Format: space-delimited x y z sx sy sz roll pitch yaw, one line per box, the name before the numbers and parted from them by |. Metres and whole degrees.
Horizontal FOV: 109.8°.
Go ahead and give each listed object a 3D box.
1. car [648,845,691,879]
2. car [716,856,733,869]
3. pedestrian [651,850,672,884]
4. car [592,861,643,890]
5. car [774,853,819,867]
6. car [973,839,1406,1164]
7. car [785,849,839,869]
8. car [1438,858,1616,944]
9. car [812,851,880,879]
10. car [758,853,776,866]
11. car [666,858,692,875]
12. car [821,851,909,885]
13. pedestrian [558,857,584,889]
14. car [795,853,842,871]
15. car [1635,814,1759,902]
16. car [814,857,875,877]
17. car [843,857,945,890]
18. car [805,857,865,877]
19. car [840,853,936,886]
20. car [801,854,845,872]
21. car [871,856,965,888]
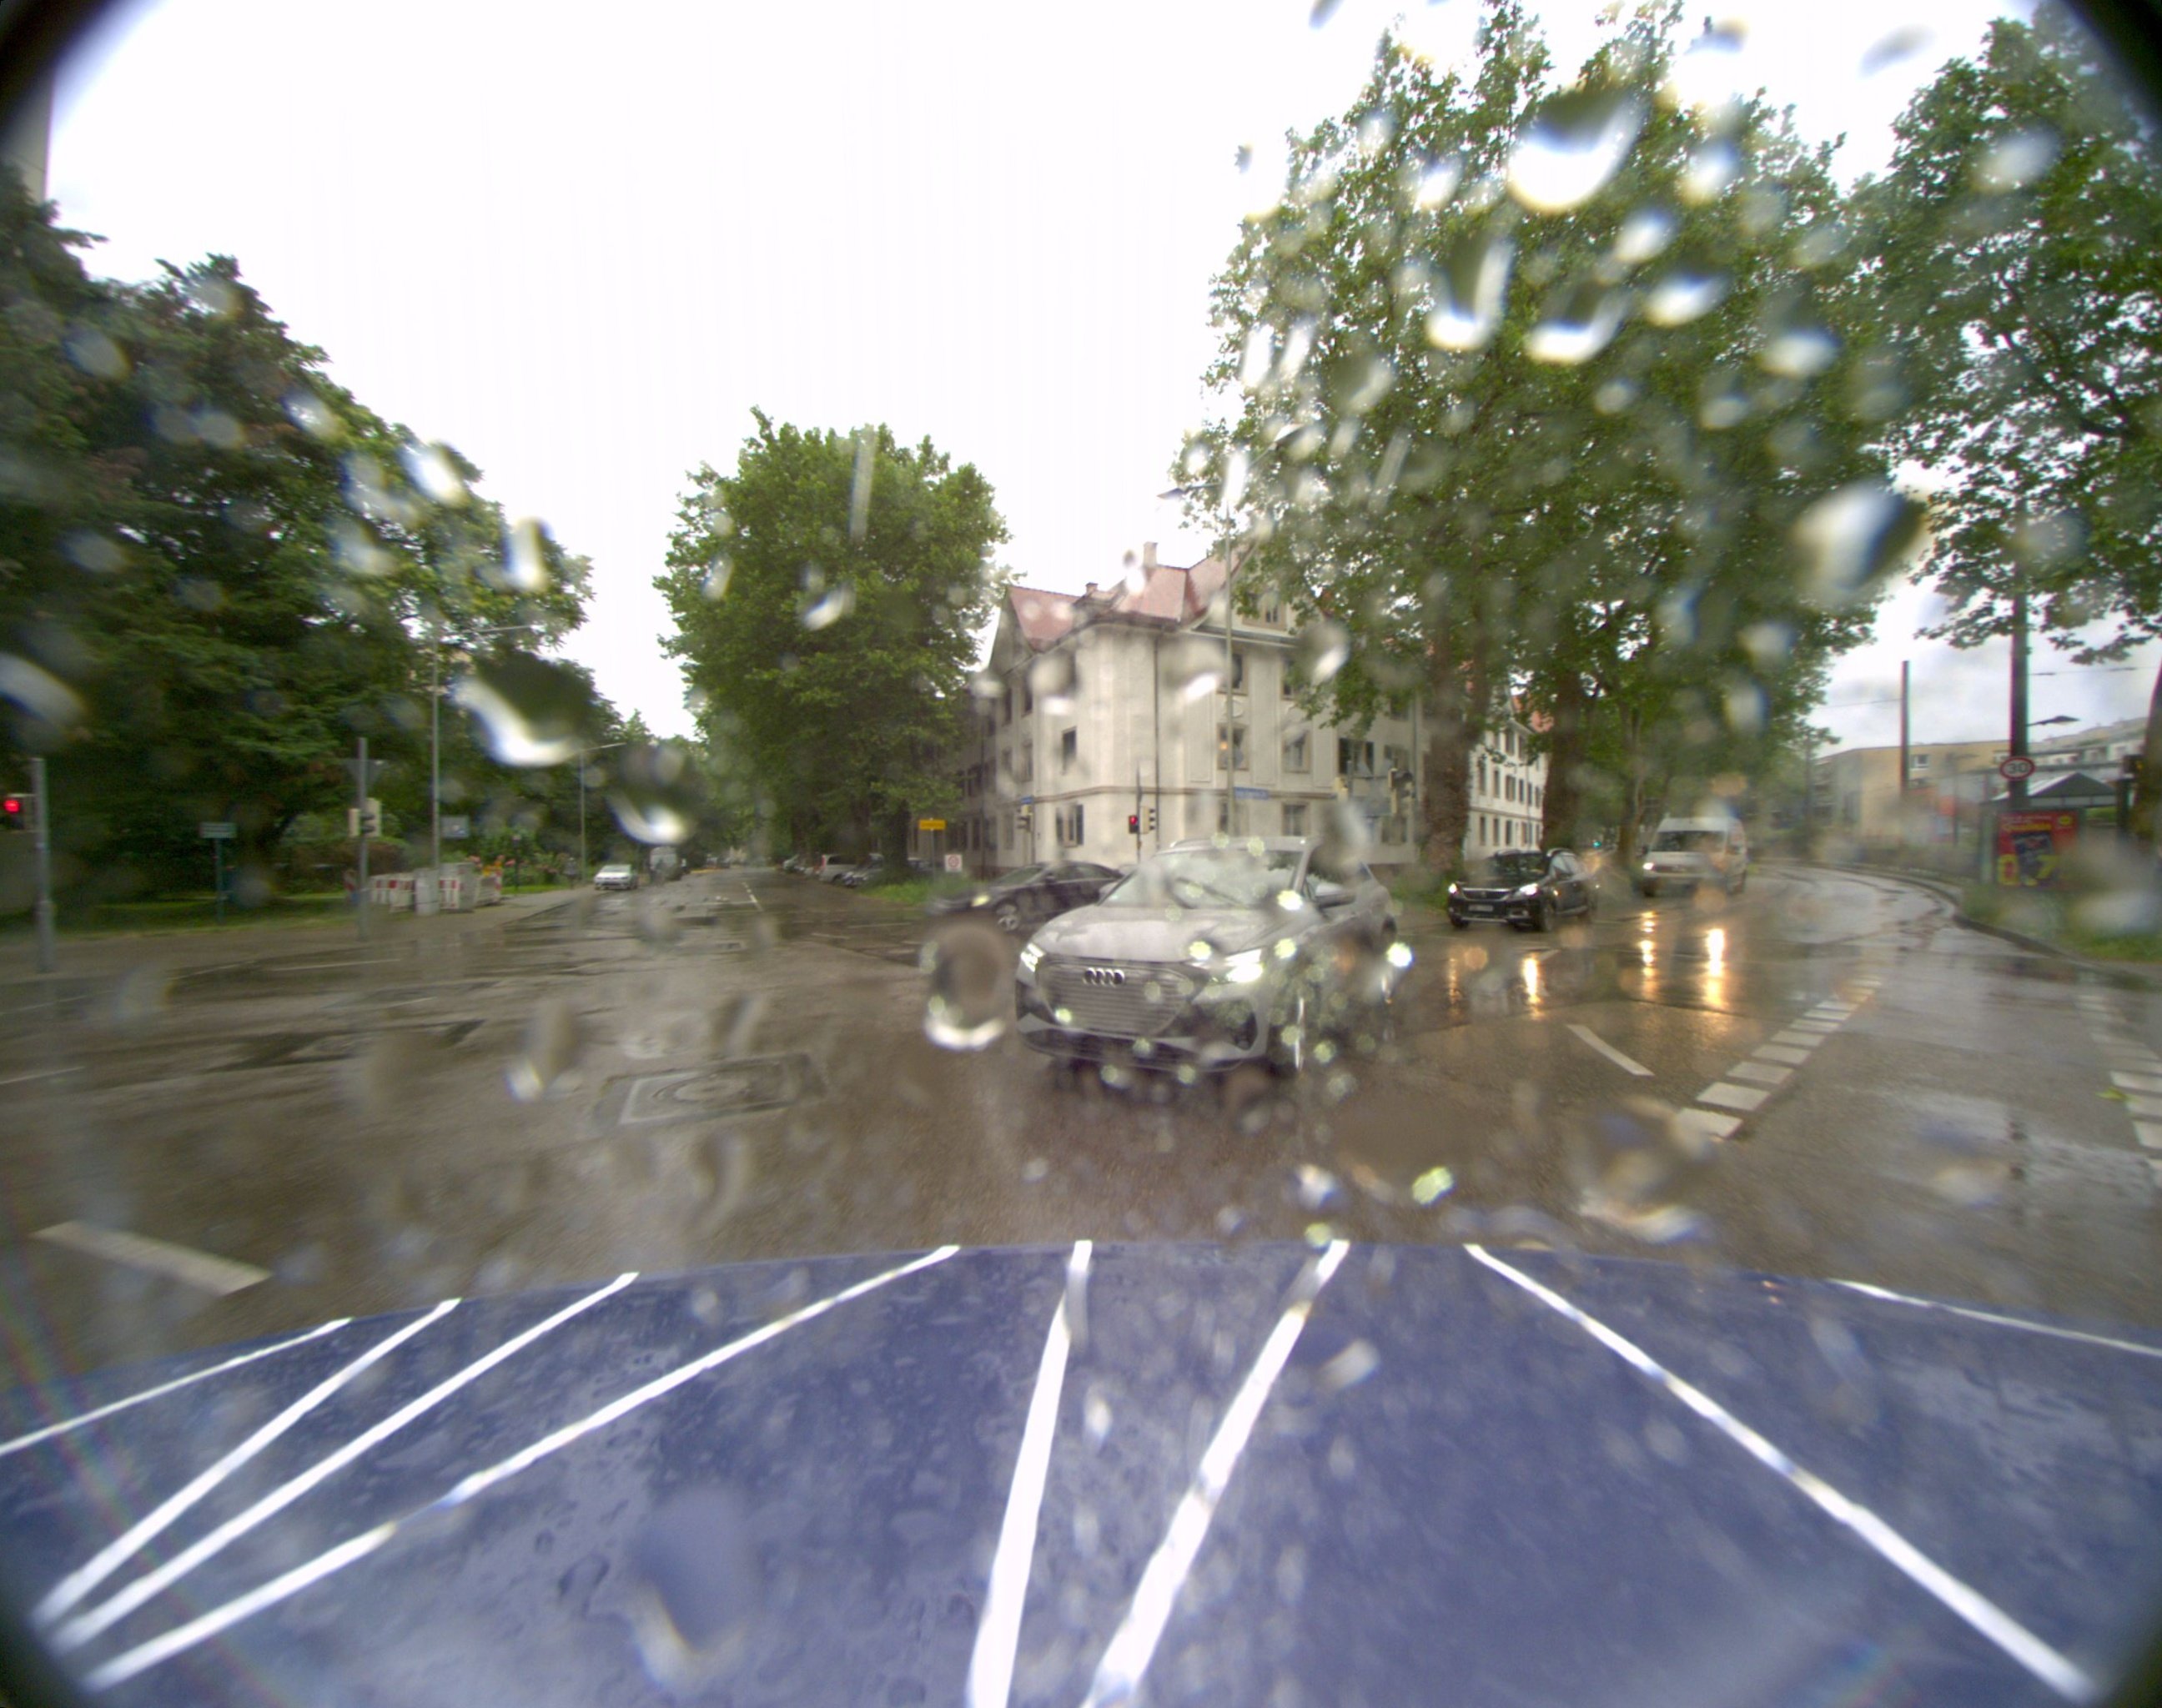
car | -31.563 0.568 58.389 2.406 2.461 5.680 0 0 -24
car | -52.686 1.224 112.297 2.003 1.796 4.340 -1 1 -28
pedestrian | -25.559 0.765 46.299 0.945 2.050 1.078 0 0 -21
car | -26.289 1.187 43.245 1.824 1.451 4.264 -1 1 -23
car | -32.007 0.665 85.411 4.678 1.595 2.029 0 0 -24
car | 1.212 0.737 5.988 1.805 1.611 4.146 0 0 33
car | -27.791 0.460 78.435 5.096 2.012 2.029 0 0 -24
car | 8.813 0.814 14.890 4.008 1.435 1.849 0 0 -41
car | -16.876 0.772 54.556 4.449 1.888 2.029 0 0 -26
car | -47.657 0.827 115.332 2.003 1.796 3.991 -1 1 -29
car | -38.850 1.177 73.536 2.002 1.530 3.992 -1 1 -25
car | -12.534 0.768 44.061 4.678 1.862 2.029 0 0 -24
pedestrian | -27.031 1.005 40.319 0.945 1.650 0.927 0 0 -21
car | -24.982 0.783 72.343 4.117 1.680 1.824 0 0 -24
car | 20.338 0.058 24.948 6.524 2.547 2.278 -2 1 -43
car | -18.837 1.004 60.589 4.417 1.576 1.923 0 0 -24
car | -9.453 0.946 38.451 4.747 1.613 1.926 0 0 -27
car | -20.280 1.044 62.641 4.535 1.561 2.029 0 0 -24
car | -10.354 0.815 40.784 4.678 1.680 2.029 0 0 -24
car | -23.842 0.800 70.236 3.727 1.680 1.934 0 0 -24
car | -7.766 0.814 36.154 4.005 1.346 1.793 -2 1 -28
